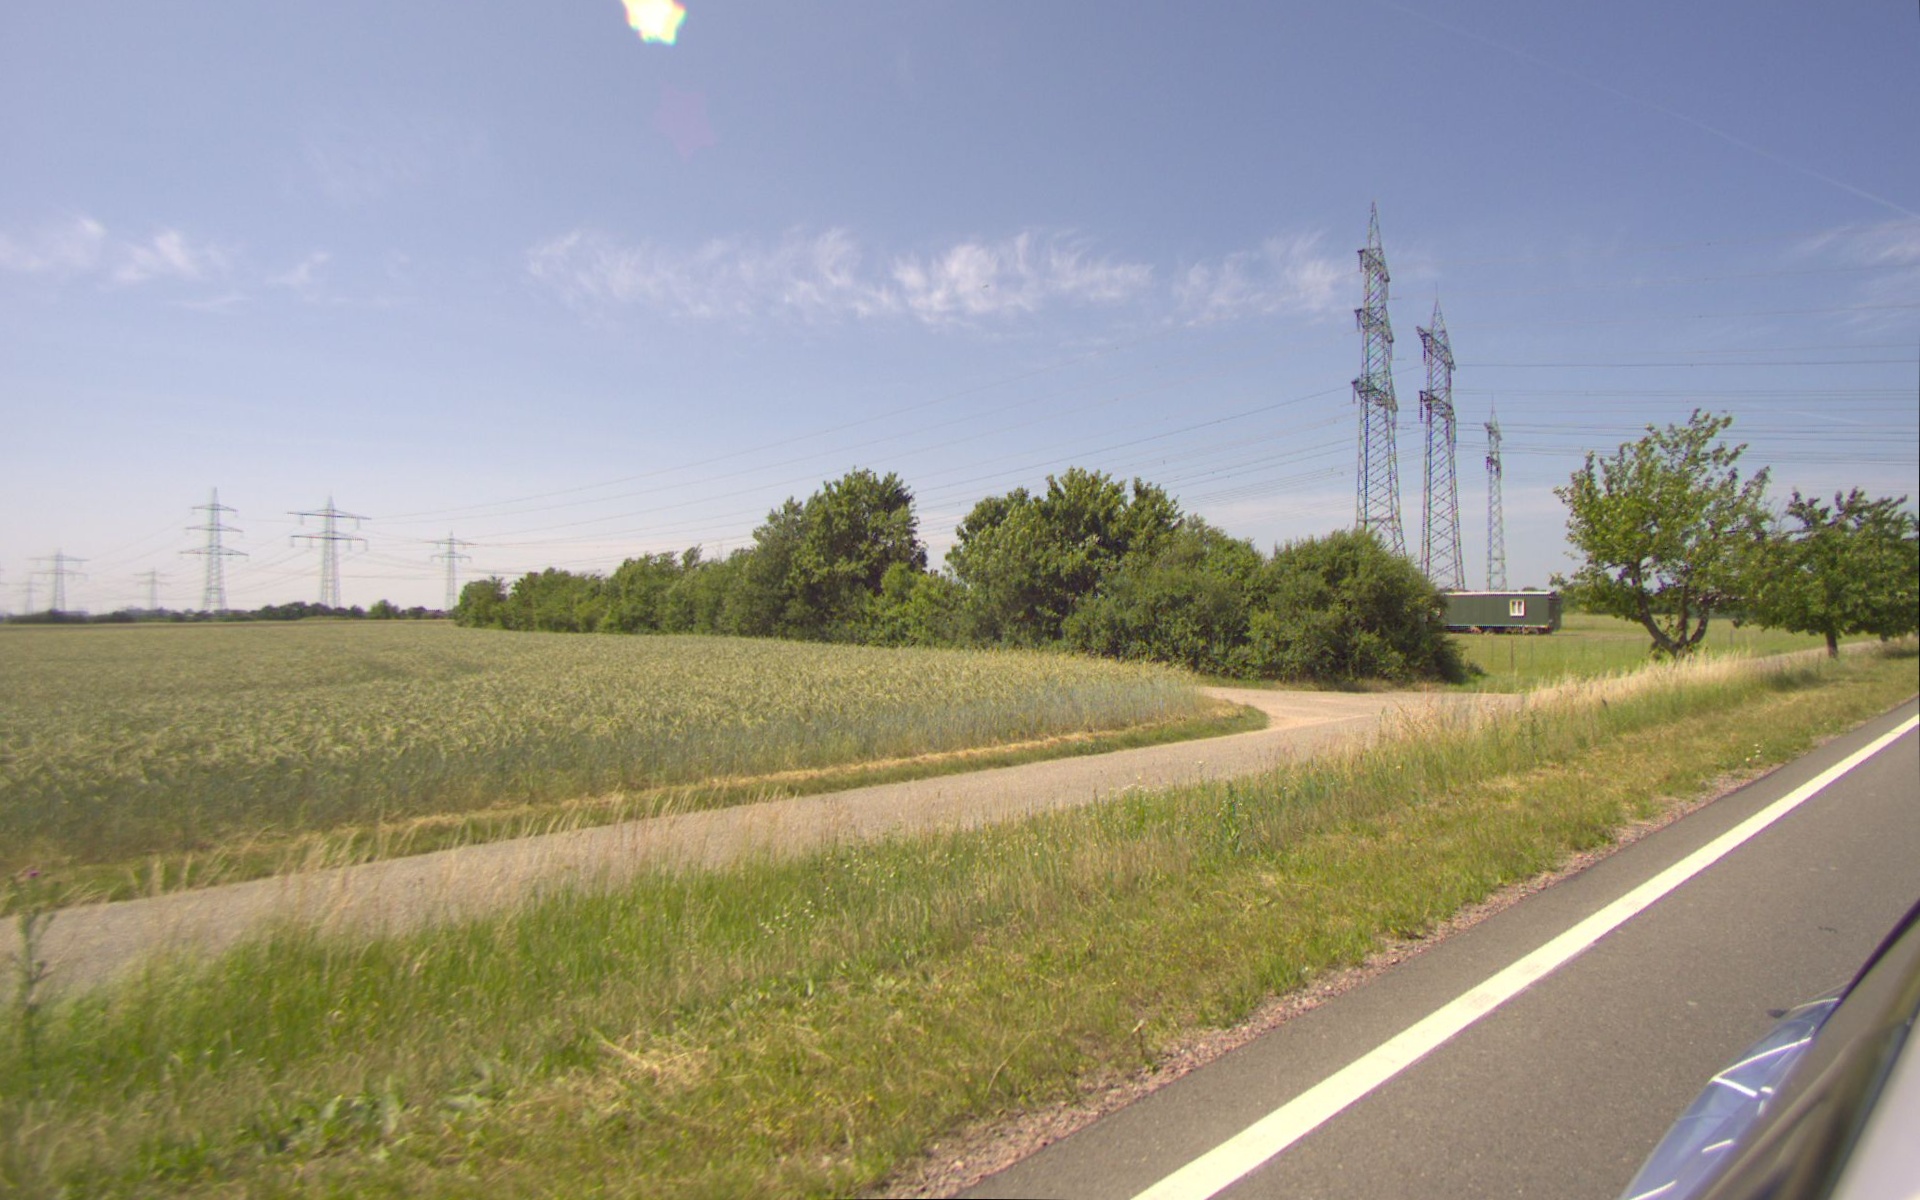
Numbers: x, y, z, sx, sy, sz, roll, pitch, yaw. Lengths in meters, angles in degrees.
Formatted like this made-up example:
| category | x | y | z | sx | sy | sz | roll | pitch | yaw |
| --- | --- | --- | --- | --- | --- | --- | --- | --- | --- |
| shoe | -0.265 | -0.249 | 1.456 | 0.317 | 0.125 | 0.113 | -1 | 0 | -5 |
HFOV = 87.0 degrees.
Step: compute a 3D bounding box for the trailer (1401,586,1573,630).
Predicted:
| category | x | y | z | sx | sy | sz | roll | pitch | yaw |
| --- | --- | --- | --- | --- | --- | --- | --- | --- | --- |
| trailer | 44.363 | 0.721 | 85.797 | 3.737 | 3.517 | 12.436 | 0 | -1 | -39 |
